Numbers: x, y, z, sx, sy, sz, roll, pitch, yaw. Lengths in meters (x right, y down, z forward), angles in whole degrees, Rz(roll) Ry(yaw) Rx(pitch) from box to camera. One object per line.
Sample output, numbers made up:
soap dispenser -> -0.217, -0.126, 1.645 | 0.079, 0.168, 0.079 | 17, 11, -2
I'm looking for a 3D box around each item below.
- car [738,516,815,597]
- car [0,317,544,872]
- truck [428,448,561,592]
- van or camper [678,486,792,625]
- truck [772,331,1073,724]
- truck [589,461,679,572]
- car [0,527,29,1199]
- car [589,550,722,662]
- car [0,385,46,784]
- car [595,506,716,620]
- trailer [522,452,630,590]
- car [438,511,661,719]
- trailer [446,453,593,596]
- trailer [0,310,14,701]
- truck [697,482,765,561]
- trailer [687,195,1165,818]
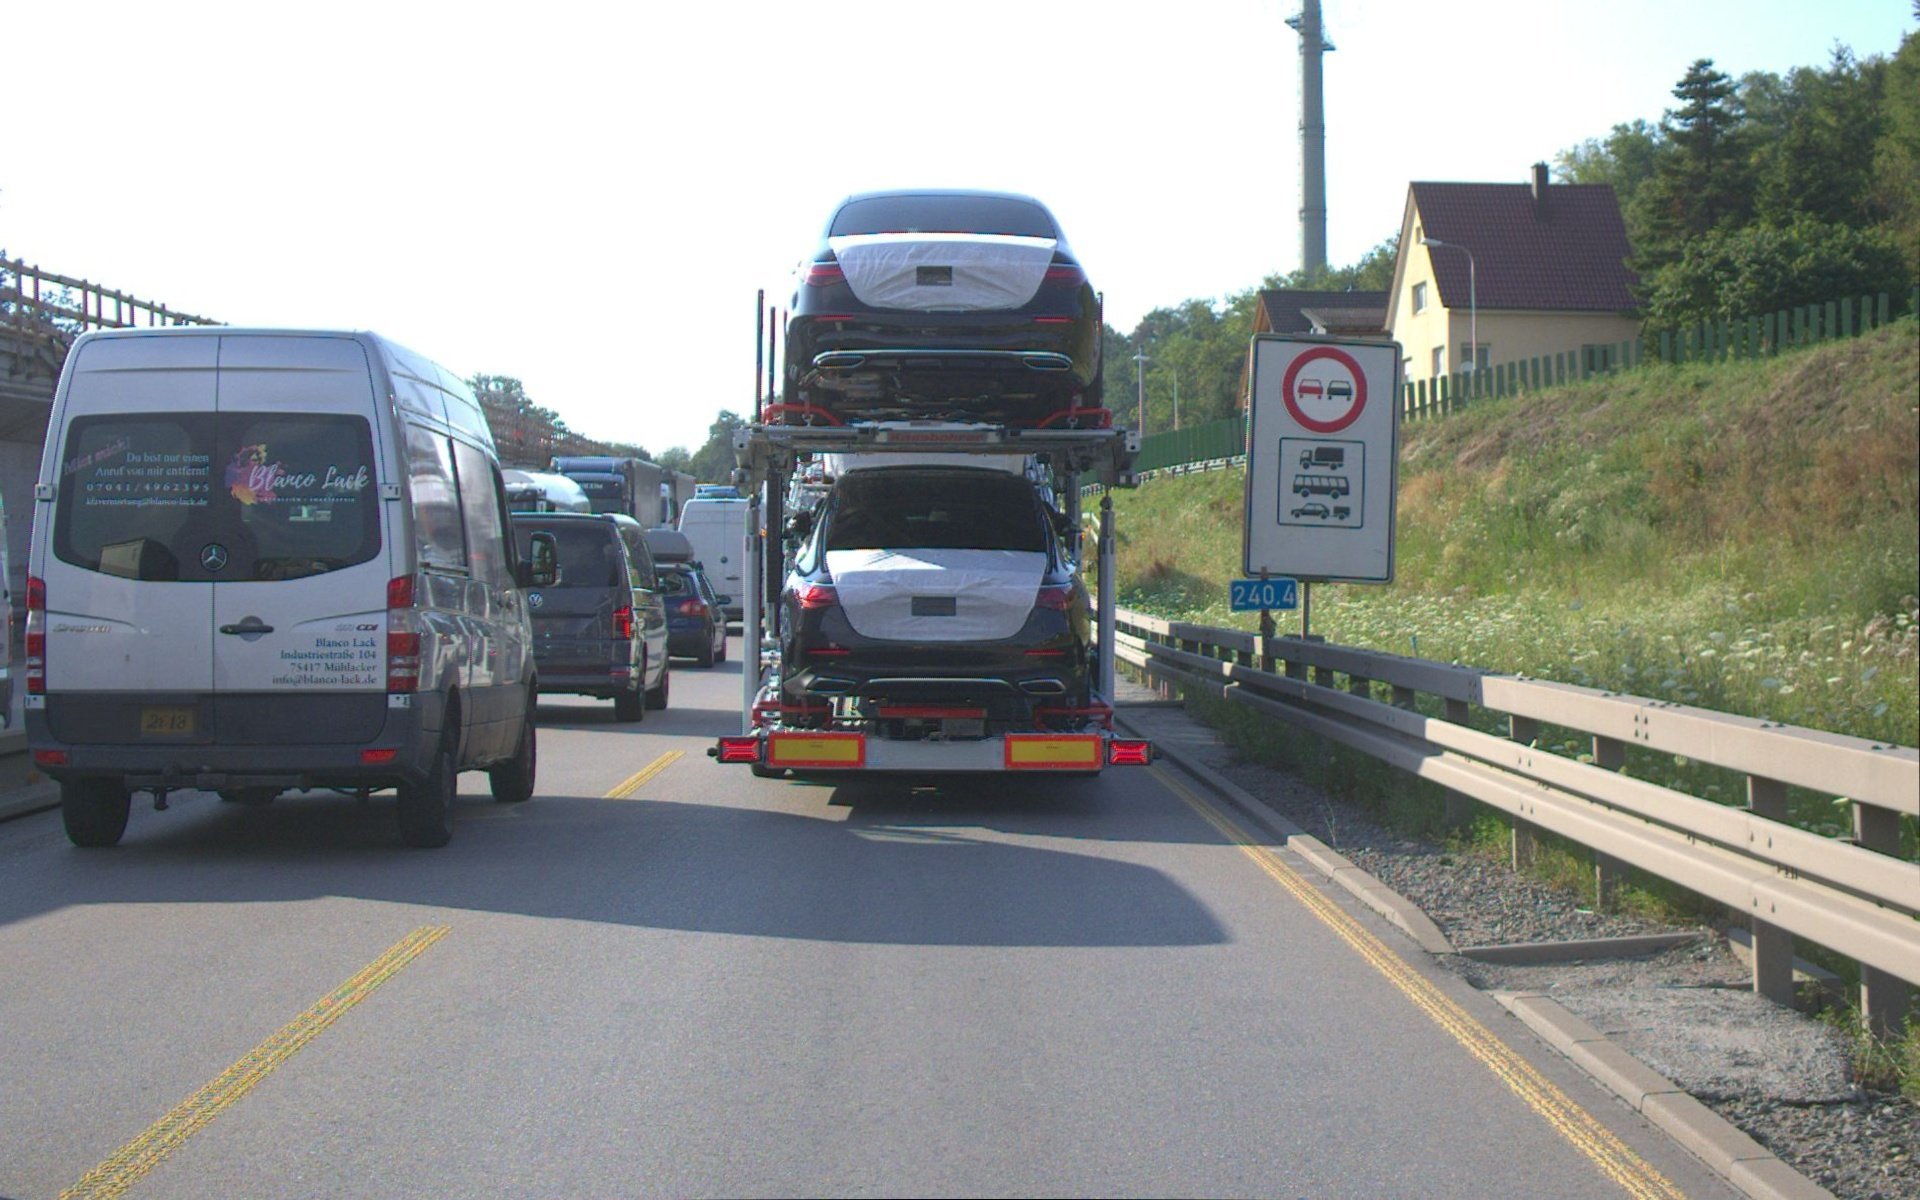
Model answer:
car -> -4.828, -1.170, 90.885 | 1.885, 2.092, 3.766 | 1, 1, -1
car -> -3.624, -0.098, 19.167 | 1.993, 2.639, 5.531 | 0, 2, -1
truck -> -11.395, -1.930, 84.572 | 2.548, 3.397, 5.532 | 1, 0, -1
van or camper -> -4.377, -0.868, 67.587 | 1.968, 2.583, 5.042 | 1, 1, -1
truck -> -0.378, -0.702, 34.798 | 2.682, 3.522, 7.194 | 1, 1, -1
truck -> -12.102, -3.078, 128.009 | 2.860, 3.994, 5.658 | 1, 0, -1
car -> -3.047, 0.626, 6.133 | 1.680, 1.583, 4.272 | 0, 0, -1
car -> -4.449, 0.059, 50.625 | 1.725, 1.517, 3.974 | 1, 1, -2
car -> -7.255, -0.088, 19.950 | 1.993, 2.613, 7.411 | 1, 1, -1
car -> -6.893, -0.846, 78.231 | 2.471, 2.525, 4.000 | 0, 1, -1
trailer -> -11.890, -2.476, 106.899 | 2.764, 4.127, 5.977 | 1, 2, -1
car -> -3.977, 0.133, 33.838 | 1.808, 1.897, 4.000 | 1, 0, -2
trailer -> -11.526, -1.932, 90.821 | 2.557, 3.514, 10.682 | 1, 1, 0
trailer -> -10.654, -0.883, 27.459 | 2.652, 3.837, 13.444 | 1, 1, -1
truck -> -10.415, -3.532, 157.046 | 2.714, 3.413, 8.142 | -2, 1, -2
trailer -> -0.280, -0.628, 27.309 | 2.682, 3.522, 15.289 | 1, 1, -1
